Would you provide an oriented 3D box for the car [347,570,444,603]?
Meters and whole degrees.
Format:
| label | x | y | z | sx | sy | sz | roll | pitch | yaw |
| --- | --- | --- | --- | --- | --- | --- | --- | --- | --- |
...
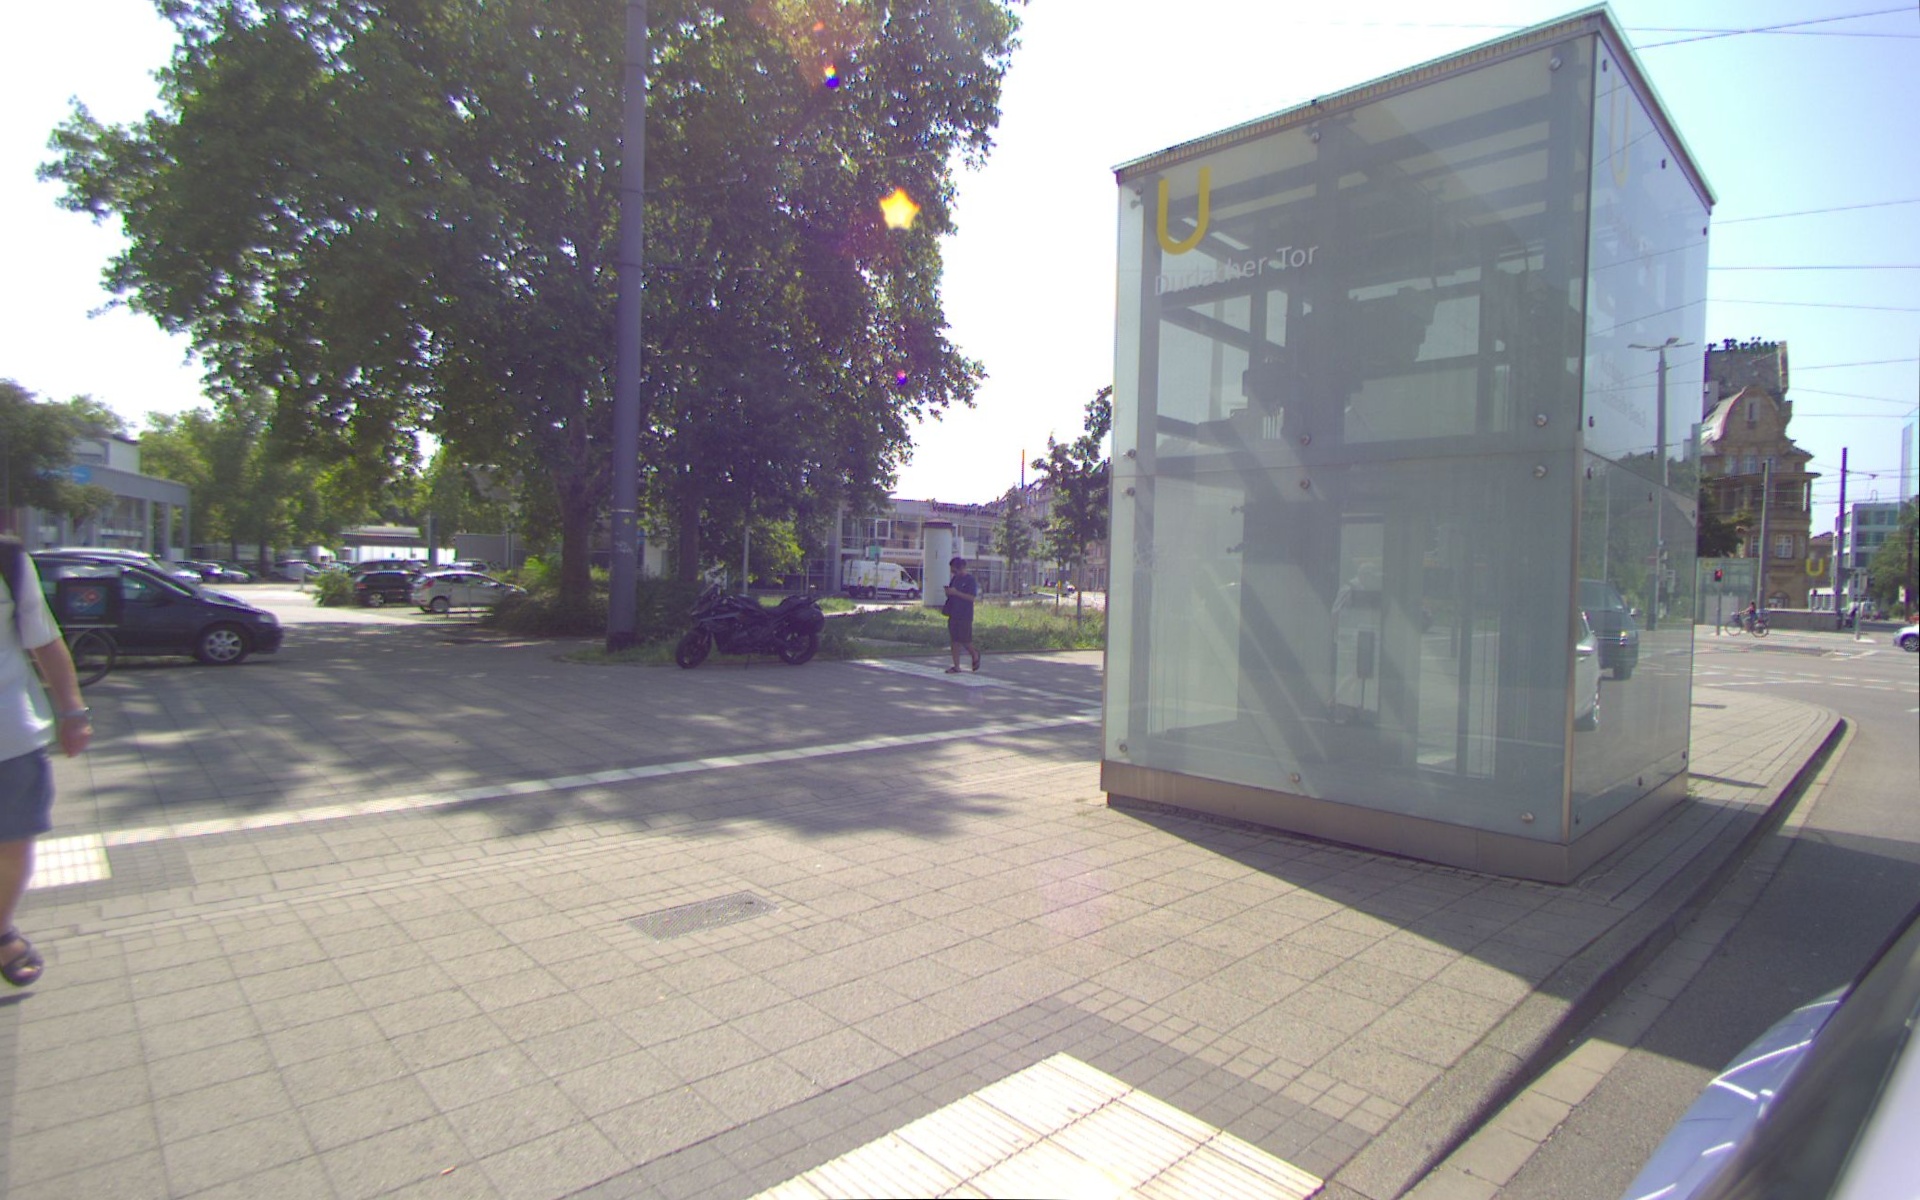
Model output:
| label | x | y | z | sx | sy | sz | roll | pitch | yaw |
| --- | --- | --- | --- | --- | --- | --- | --- | --- | --- |
| car | -23.338 | -0.558 | 41.912 | 3.235 | 1.298 | 1.612 | 0 | 2 | -42 |

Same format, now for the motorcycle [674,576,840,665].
| label | x | y | z | sx | sy | sz | roll | pitch | yaw |
| --- | --- | --- | --- | --- | --- | --- | --- | --- | --- |
| motorcycle | -2.820 | 0.267 | 14.089 | 2.070 | 1.151 | 0.913 | 1 | 2 | -30 |

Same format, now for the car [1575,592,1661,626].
| label | x | y | z | sx | sy | sz | roll | pitch | yaw |
| --- | --- | --- | --- | --- | --- | --- | --- | --- | --- |
| car | 31.770 | 0.416 | 48.928 | 1.486 | 1.426 | 3.366 | 2 | 1 | -12 |

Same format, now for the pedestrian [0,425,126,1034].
| label | x | y | z | sx | sy | sz | roll | pitch | yaw |
| --- | --- | --- | --- | --- | --- | --- | --- | --- | --- |
| pedestrian | -3.240 | 0.385 | 3.269 | 0.800 | 1.831 | 0.820 | 0 | 0 | -42 |

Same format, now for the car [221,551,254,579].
| label | x | y | z | sx | sy | sz | roll | pitch | yaw |
| --- | --- | --- | --- | --- | --- | --- | --- | --- | --- |
| car | -54.919 | -2.651 | 76.987 | 1.570 | 2.038 | 3.693 | 1 | 1 | -29 |

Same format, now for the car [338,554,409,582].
| label | x | y | z | sx | sy | sz | roll | pitch | yaw |
| --- | --- | --- | --- | --- | --- | --- | --- | --- | --- |
| car | -33.962 | -1.835 | 58.623 | 3.471 | 1.507 | 1.617 | 1 | 1 | -31 |

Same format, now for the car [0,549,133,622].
| label | x | y | z | sx | sy | sz | roll | pitch | yaw |
| --- | --- | --- | --- | --- | --- | --- | --- | --- | --- |
| car | -19.069 | -0.309 | 20.819 | 1.399 | 1.446 | 3.049 | 3 | 2 | 44 |

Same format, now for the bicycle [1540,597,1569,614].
| label | x | y | z | sx | sy | sz | roll | pitch | yaw |
| --- | --- | --- | --- | --- | --- | --- | --- | --- | --- |
| bicycle | 37.535 | 0.348 | 63.910 | 1.751 | 0.969 | 0.463 | 1 | 1 | -16 |

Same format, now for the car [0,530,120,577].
| label | x | y | z | sx | sy | sz | roll | pitch | yaw |
| --- | --- | --- | --- | --- | --- | --- | --- | --- | --- |
| car | -35.323 | -1.781 | 39.320 | 1.786 | 1.686 | 4.008 | 3 | 2 | 44 |

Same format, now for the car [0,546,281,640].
| label | x | y | z | sx | sy | sz | roll | pitch | yaw |
| --- | --- | --- | --- | --- | --- | --- | --- | --- | --- |
| car | -14.818 | -0.150 | 18.080 | 1.901 | 1.488 | 4.179 | 3 | 2 | 44 |

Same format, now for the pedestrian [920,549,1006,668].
| label | x | y | z | sx | sy | sz | roll | pitch | yaw |
| --- | --- | --- | --- | --- | --- | --- | --- | --- | --- |
| pedestrian | 0.043 | 0.097 | 14.618 | 0.791 | 1.628 | 0.935 | 3 | 3 | 44 |

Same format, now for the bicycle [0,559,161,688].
| label | x | y | z | sx | sy | sz | roll | pitch | yaw |
| --- | --- | --- | --- | --- | --- | --- | --- | --- | --- |
| bicycle | -9.607 | 0.215 | 10.187 | 2.394 | 1.254 | 0.793 | 0 | 2 | -43 |

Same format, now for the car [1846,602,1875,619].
| label | x | y | z | sx | sy | sz | roll | pitch | yaw |
| --- | --- | --- | --- | --- | --- | --- | --- | --- | --- |
| car | 79.812 | 0.959 | 89.747 | 1.365 | 1.415 | 3.217 | 3 | 0 | 33 |

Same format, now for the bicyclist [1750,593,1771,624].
| label | x | y | z | sx | sy | sz | roll | pitch | yaw |
| --- | --- | --- | --- | --- | --- | --- | --- | --- | --- |
| bicyclist | 38.574 | 0.402 | 48.763 | 0.647 | 1.499 | 0.643 | 1 | 1 | -41 |

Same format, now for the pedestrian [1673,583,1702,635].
| label | x | y | z | sx | sy | sz | roll | pitch | yaw |
| --- | --- | --- | --- | --- | --- | --- | --- | --- | --- |
| pedestrian | 24.213 | 0.306 | 33.685 | 0.714 | 1.709 | 0.795 | -1 | -3 | 33 |

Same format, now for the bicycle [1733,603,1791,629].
| label | x | y | z | sx | sy | sz | roll | pitch | yaw |
| --- | --- | --- | --- | --- | --- | --- | --- | --- | --- |
| bicycle | 38.591 | 0.756 | 48.715 | 0.433 | 1.125 | 2.126 | 1 | 2 | -39 |

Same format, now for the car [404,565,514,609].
| label | x | y | z | sx | sy | sz | roll | pitch | yaw |
| --- | --- | --- | --- | --- | --- | --- | --- | --- | --- |
| car | -17.971 | -0.452 | 36.365 | 3.235 | 1.479 | 1.612 | 0 | 2 | -42 |

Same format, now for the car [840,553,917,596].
| label | x | y | z | sx | sy | sz | roll | pitch | yaw |
| --- | --- | --- | --- | --- | --- | --- | --- | --- | --- |
| car | -5.496 | -1.726 | 68.898 | 5.128 | 2.617 | 1.845 | 3 | 0 | -43 |

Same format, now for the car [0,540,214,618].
| label | x | y | z | sx | sy | sz | roll | pitch | yaw |
| --- | --- | --- | --- | --- | --- | --- | --- | --- | --- |
| car | -20.034 | -0.487 | 23.604 | 1.786 | 1.686 | 4.008 | 3 | 2 | 44 |

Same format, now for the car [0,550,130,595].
| label | x | y | z | sx | sy | sz | roll | pitch | yaw |
| --- | --- | --- | --- | --- | --- | --- | --- | --- | --- |
| car | -30.494 | -0.926 | 33.906 | 1.786 | 1.415 | 4.008 | 3 | 2 | 44 |

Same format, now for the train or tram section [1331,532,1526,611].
| label | x | y | z | sx | sy | sz | roll | pitch | yaw |
| --- | --- | --- | --- | --- | --- | --- | --- | --- | --- |
| train or tram section | 24.150 | -1.532 | 53.369 | 2.542 | 3.604 | 12.242 | 1 | 2 | -11 |

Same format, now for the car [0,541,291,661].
| label | x | y | z | sx | sy | sz | roll | pitch | yaw |
| --- | --- | --- | --- | --- | --- | --- | --- | --- | --- |
| car | -11.865 | 0.013 | 13.905 | 1.900 | 1.489 | 4.178 | 0 | 0 | 45 |
